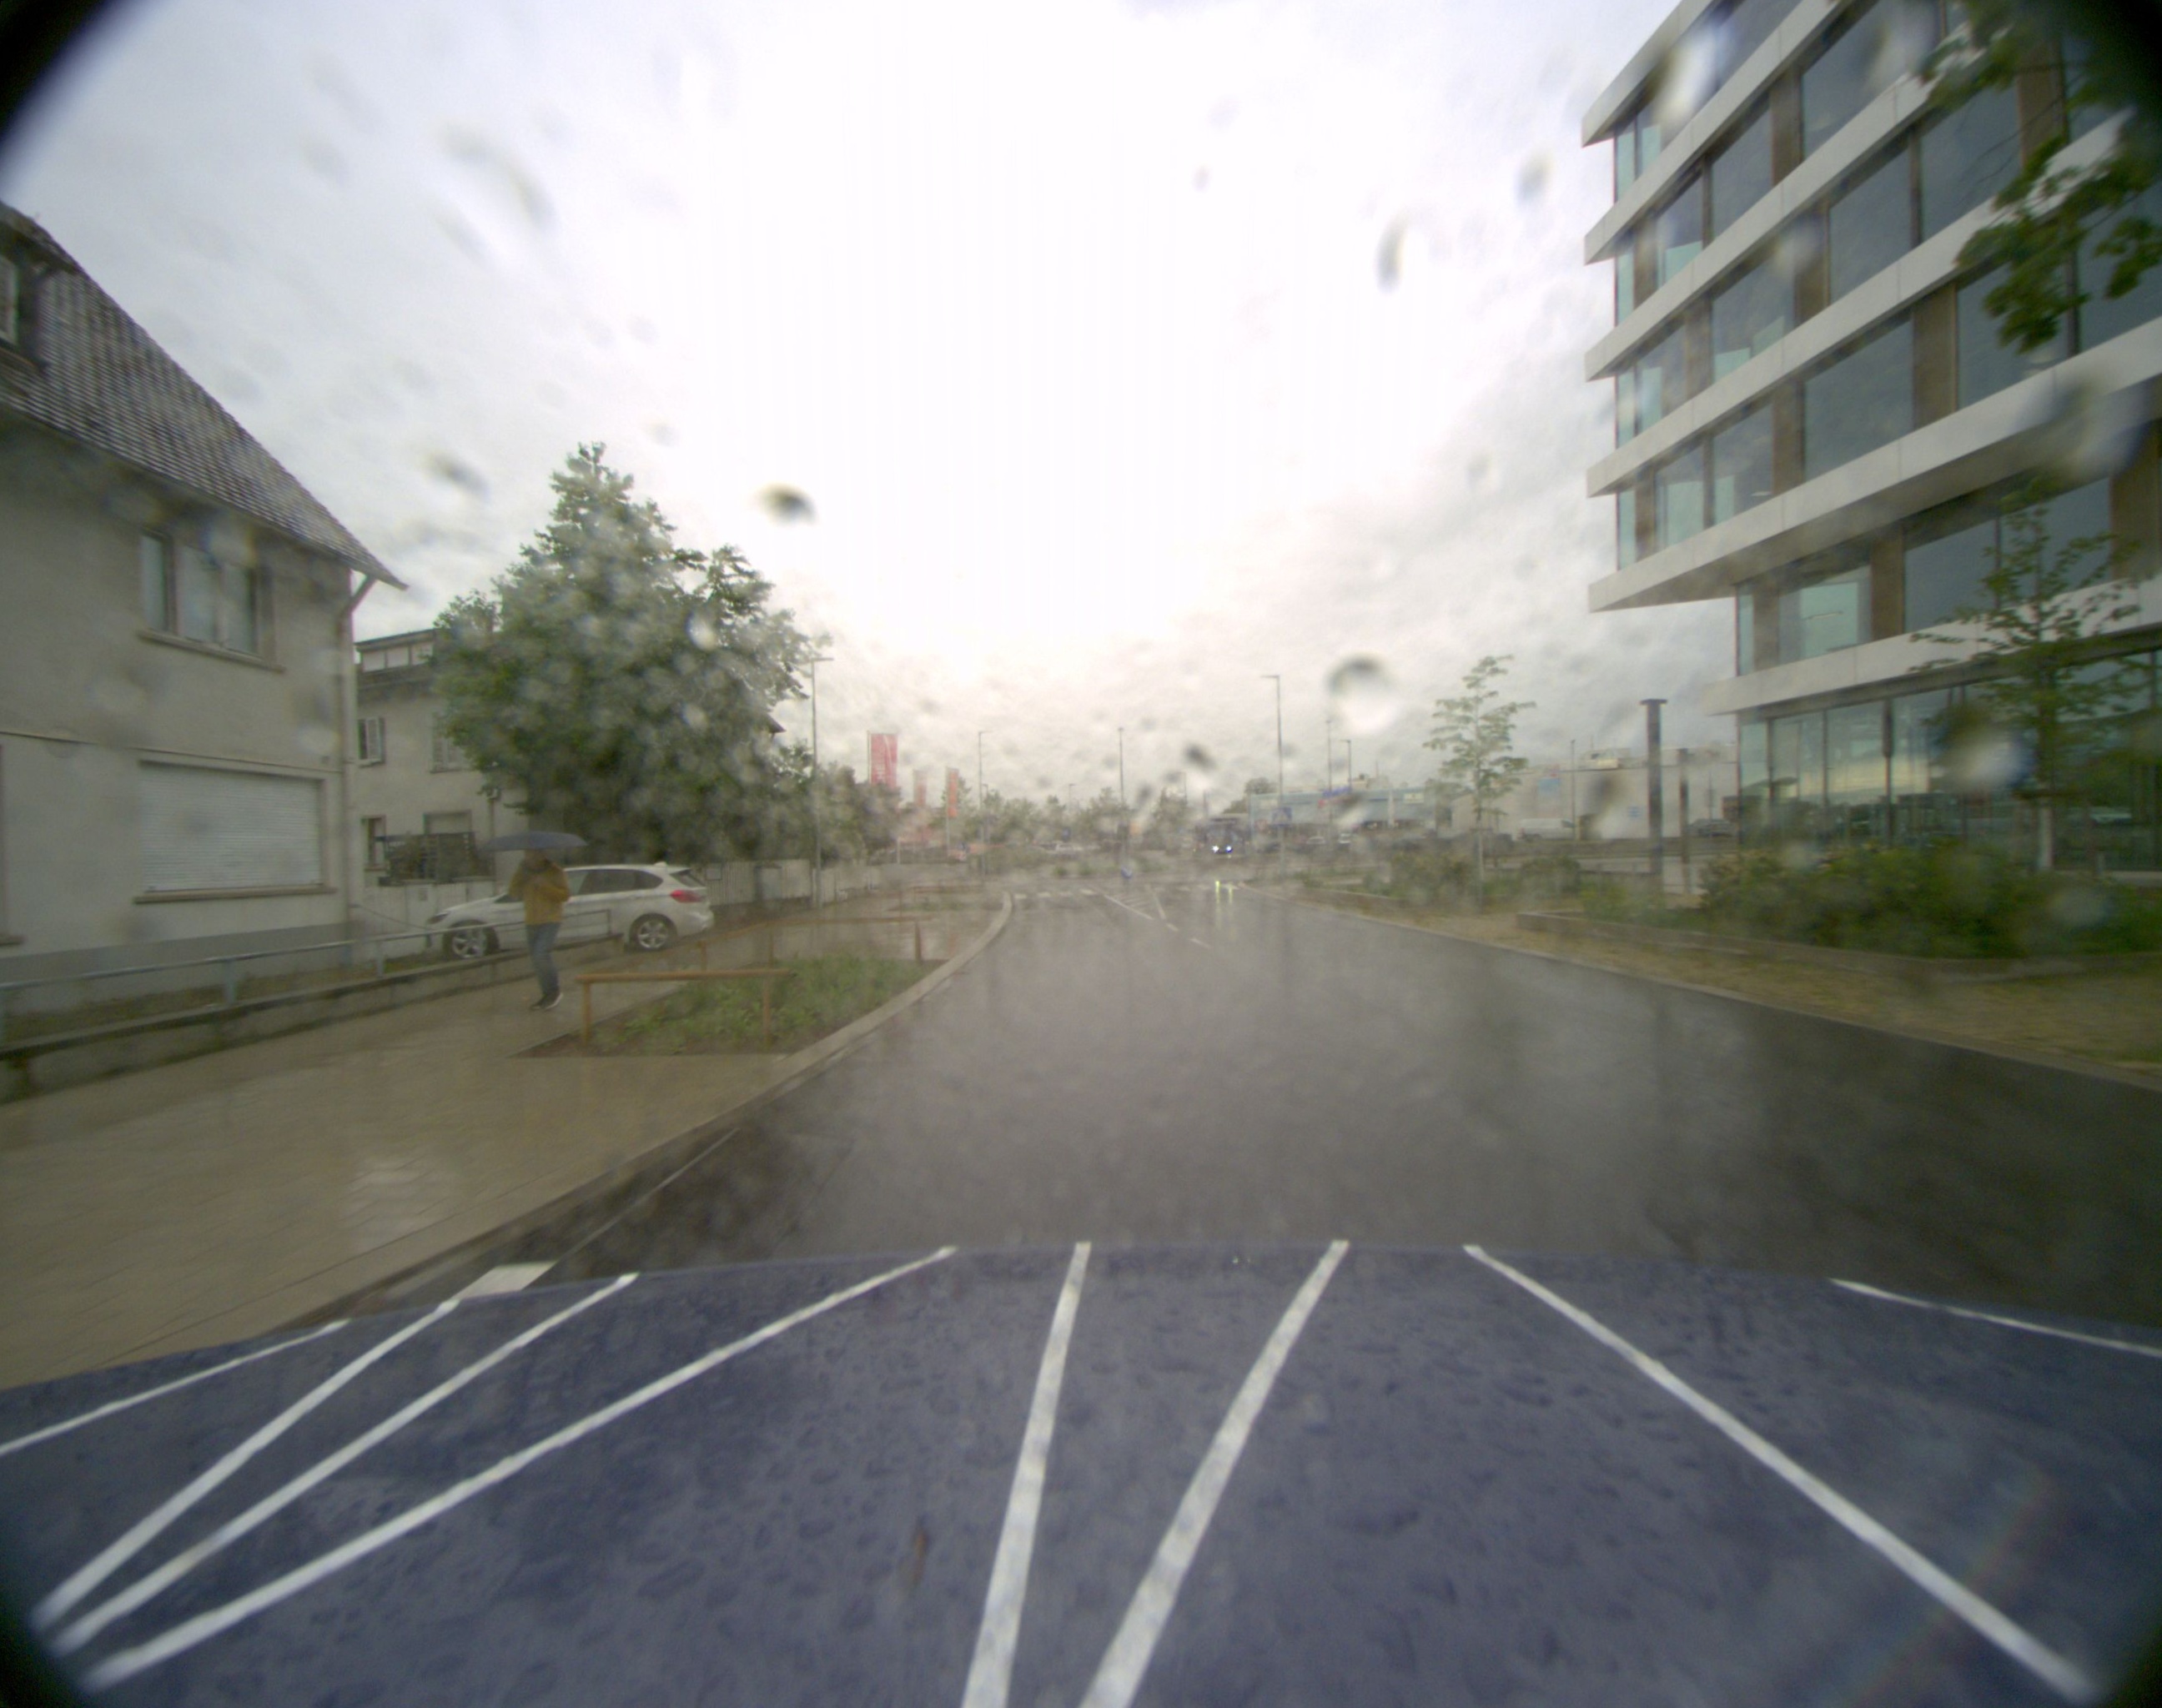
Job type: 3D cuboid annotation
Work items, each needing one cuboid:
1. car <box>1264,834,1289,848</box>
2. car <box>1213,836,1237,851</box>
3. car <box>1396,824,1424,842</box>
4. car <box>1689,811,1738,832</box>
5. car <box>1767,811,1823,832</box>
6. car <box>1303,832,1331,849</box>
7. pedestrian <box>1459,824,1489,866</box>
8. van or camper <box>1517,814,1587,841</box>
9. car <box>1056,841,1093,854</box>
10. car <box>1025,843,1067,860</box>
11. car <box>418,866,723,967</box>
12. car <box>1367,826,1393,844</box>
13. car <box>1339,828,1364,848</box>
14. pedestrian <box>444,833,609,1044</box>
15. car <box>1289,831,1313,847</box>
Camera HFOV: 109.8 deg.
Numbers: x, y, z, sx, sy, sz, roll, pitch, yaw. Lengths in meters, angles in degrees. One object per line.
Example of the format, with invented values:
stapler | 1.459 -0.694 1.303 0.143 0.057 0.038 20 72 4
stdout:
car | 20.127 -1.339 78.149 1.884 1.288 4.005 -5 0 21
car | 17.235 -1.272 90.689 1.917 1.521 4.006 -4 0 23
car | 26.969 -1.736 62.360 1.884 1.288 4.005 -5 0 21
car | 51.949 -2.656 62.473 1.791 1.543 4.005 -2 0 19
car | 56.999 -2.567 60.737 1.791 1.543 4.005 -2 0 19
car | 20.080 -1.162 64.563 1.884 1.288 4.005 -5 0 21
pedestrian | 19.750 -0.446 38.203 0.893 2.002 0.931 -3 1 -5
van or camper | 37.384 -2.106 60.427 4.373 1.751 1.890 -5 0 21
car | -0.770 -0.748 92.153 3.991 1.433 2.003 -2 0 21
car | -3.798 -0.255 82.517 4.096 1.696 2.003 -2 0 25
car | -8.886 1.022 13.688 4.145 1.571 1.997 0 0 -17
car | 24.852 -1.569 63.199 1.884 1.288 4.005 -5 0 21
car | 22.826 -1.372 64.195 1.791 1.543 4.005 -2 0 18
pedestrian | -5.631 0.802 7.812 0.861 2.002 1.194 0 1 -5
car | 22.501 -1.539 77.644 1.884 1.477 4.005 -5 0 21
